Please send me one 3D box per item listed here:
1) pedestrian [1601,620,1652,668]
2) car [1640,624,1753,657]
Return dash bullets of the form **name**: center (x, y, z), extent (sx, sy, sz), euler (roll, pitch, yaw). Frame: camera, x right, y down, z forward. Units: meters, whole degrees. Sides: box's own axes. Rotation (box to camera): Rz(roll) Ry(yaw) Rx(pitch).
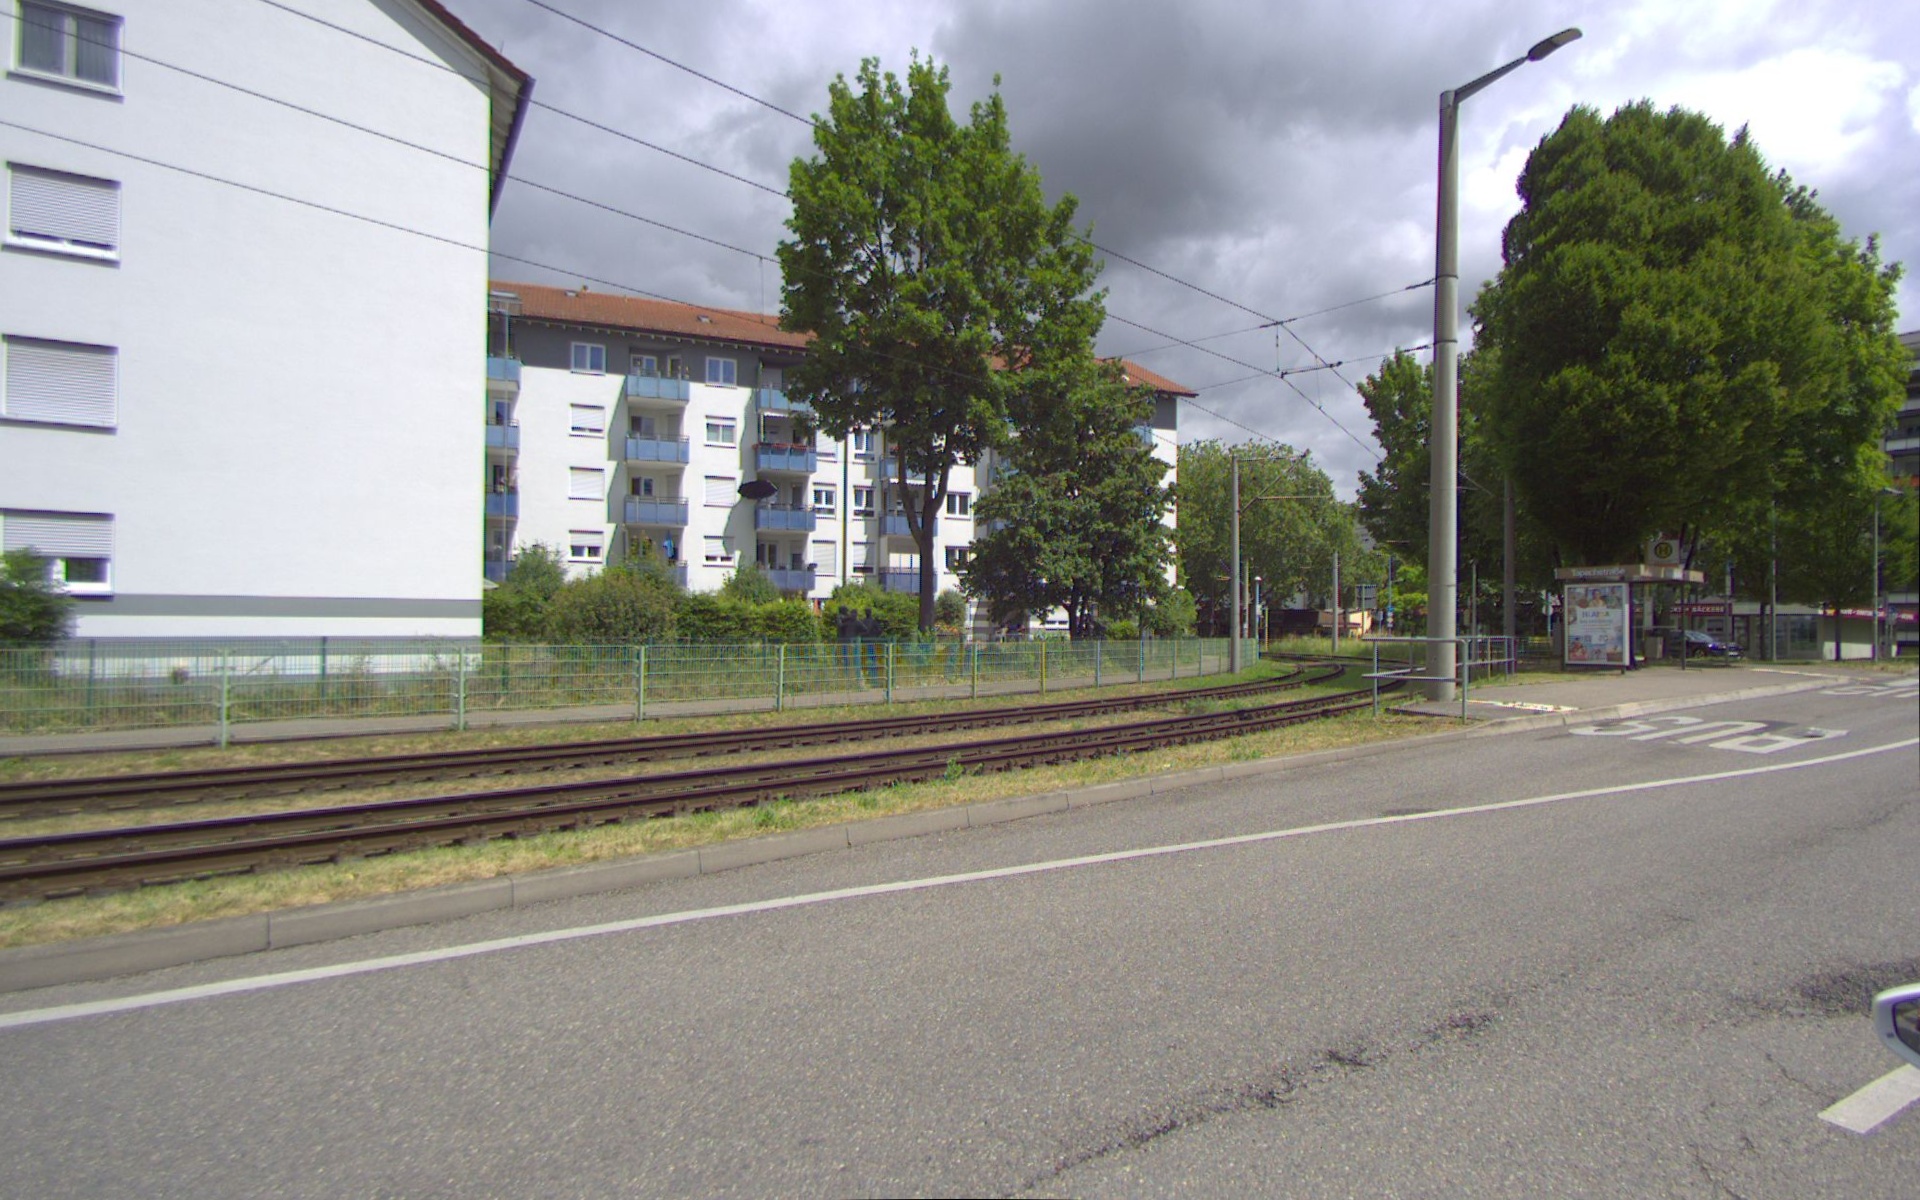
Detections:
- **pedestrian**: center (16.631, 1.080, 25.077), extent (0.902, 1.150, 0.793), euler (1, 0, -36)
- **car**: center (35.902, 1.970, 49.109), extent (1.962, 1.546, 4.522), euler (0, -2, -5)
